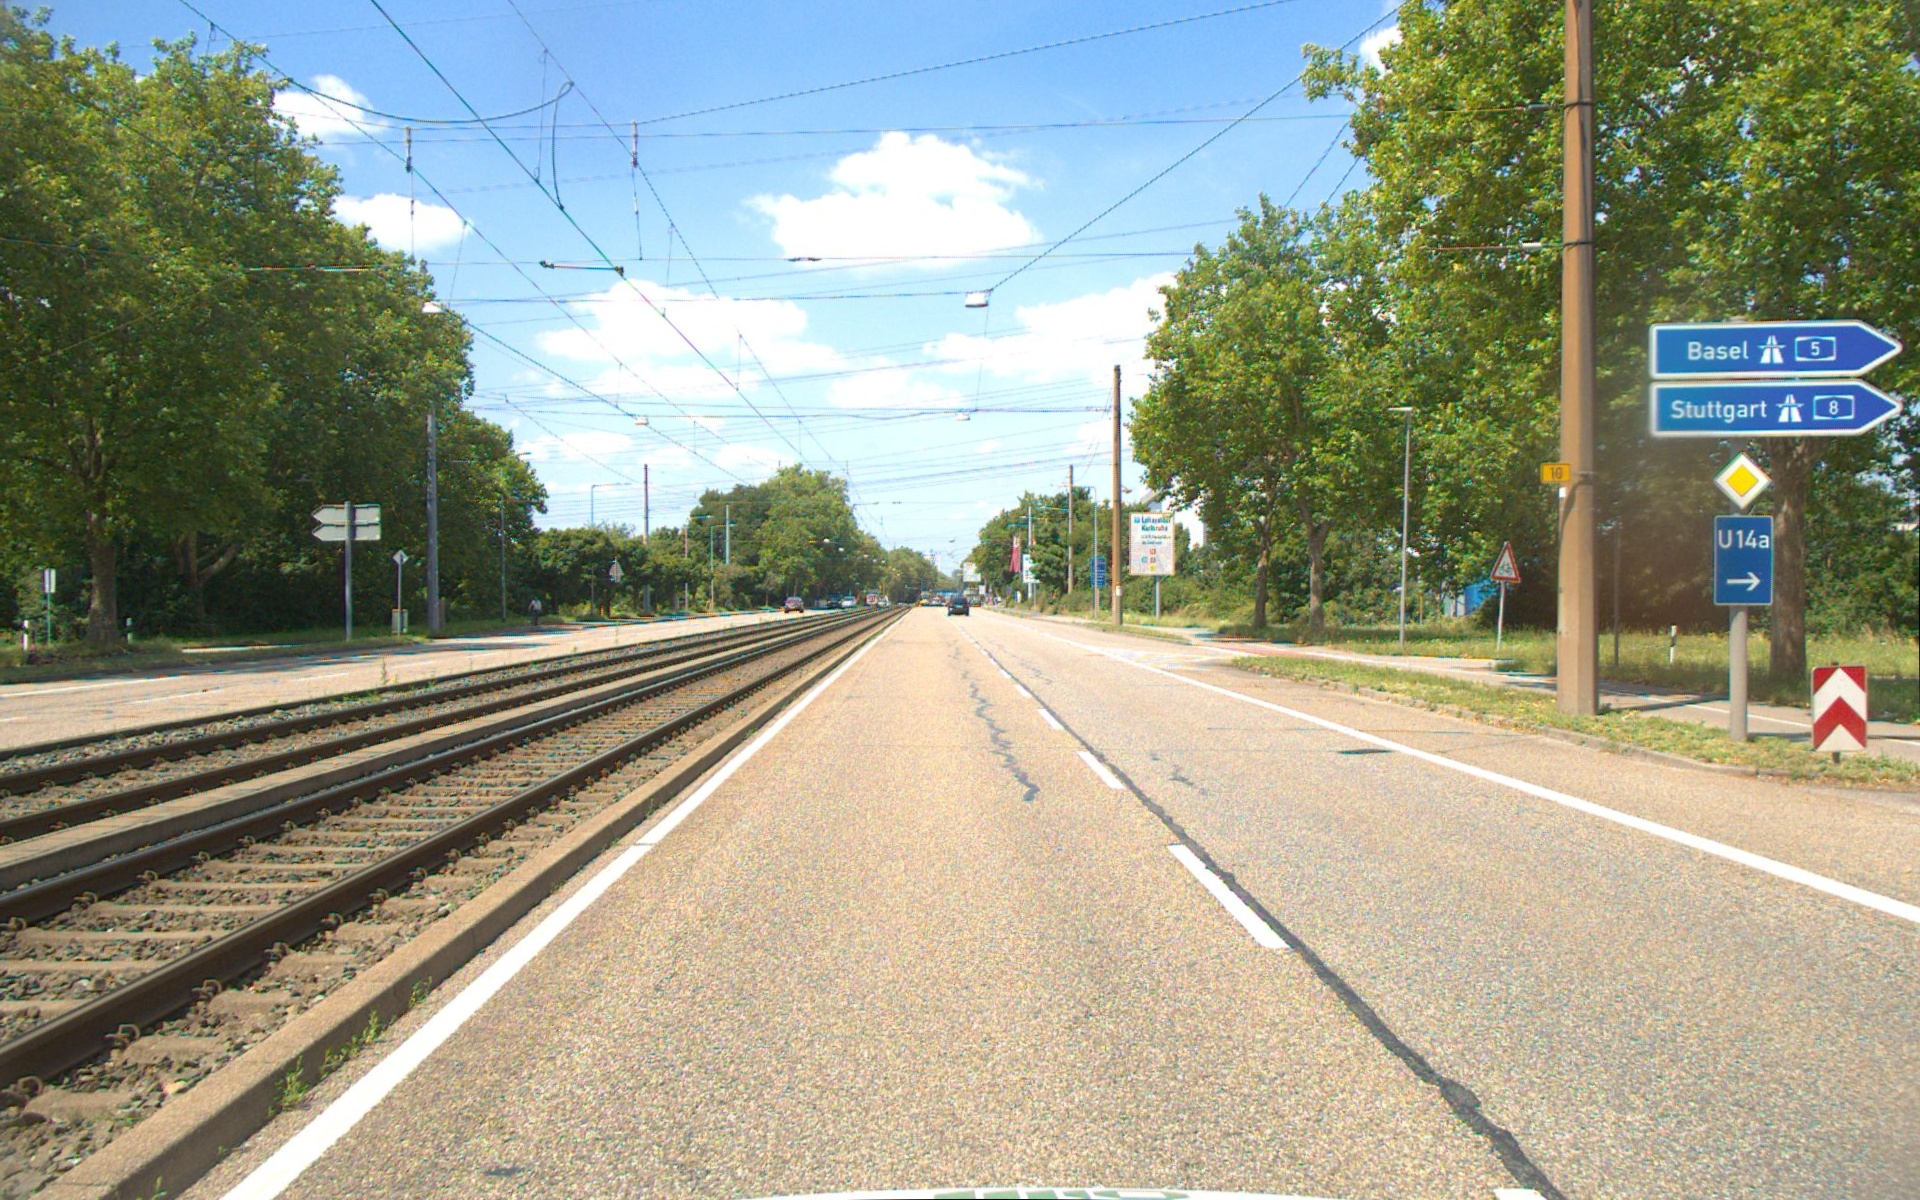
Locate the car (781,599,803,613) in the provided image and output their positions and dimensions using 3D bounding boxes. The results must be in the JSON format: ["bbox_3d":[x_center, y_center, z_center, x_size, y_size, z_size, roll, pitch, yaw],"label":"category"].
[{"bbox_3d":[-16.763,0.599,165.440,1.837,1.355,3.917,-1,0,-1],"label":"car"}]

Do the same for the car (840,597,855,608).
[{"bbox_3d":[-14.523,0.335,213.612,1.681,1.453,3.900,0,0,-1],"label":"car"}]

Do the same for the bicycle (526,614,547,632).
[{"bbox_3d":[-21.192,1.133,82.877,0.505,0.872,1.932,0,0,2],"label":"bicycle"}]

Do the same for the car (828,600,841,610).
[{"bbox_3d":[-17.595,0.705,231.256,1.569,1.295,3.835,0,0,-1],"label":"car"}]

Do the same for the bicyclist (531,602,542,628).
[{"bbox_3d":[-21.199,0.756,82.785,0.445,1.295,0.398,0,0,1],"label":"bicyclist"}]

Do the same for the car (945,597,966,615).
[{"bbox_3d":[-0.384,0.501,137.832,1.554,1.366,3.271,-1,1,-3],"label":"car"}]

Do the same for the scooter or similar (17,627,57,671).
[{"bbox_3d":[-22.807,1.214,40.883,0.292,1.040,0.997,2,0,6],"label":"scooter or similar"}]
